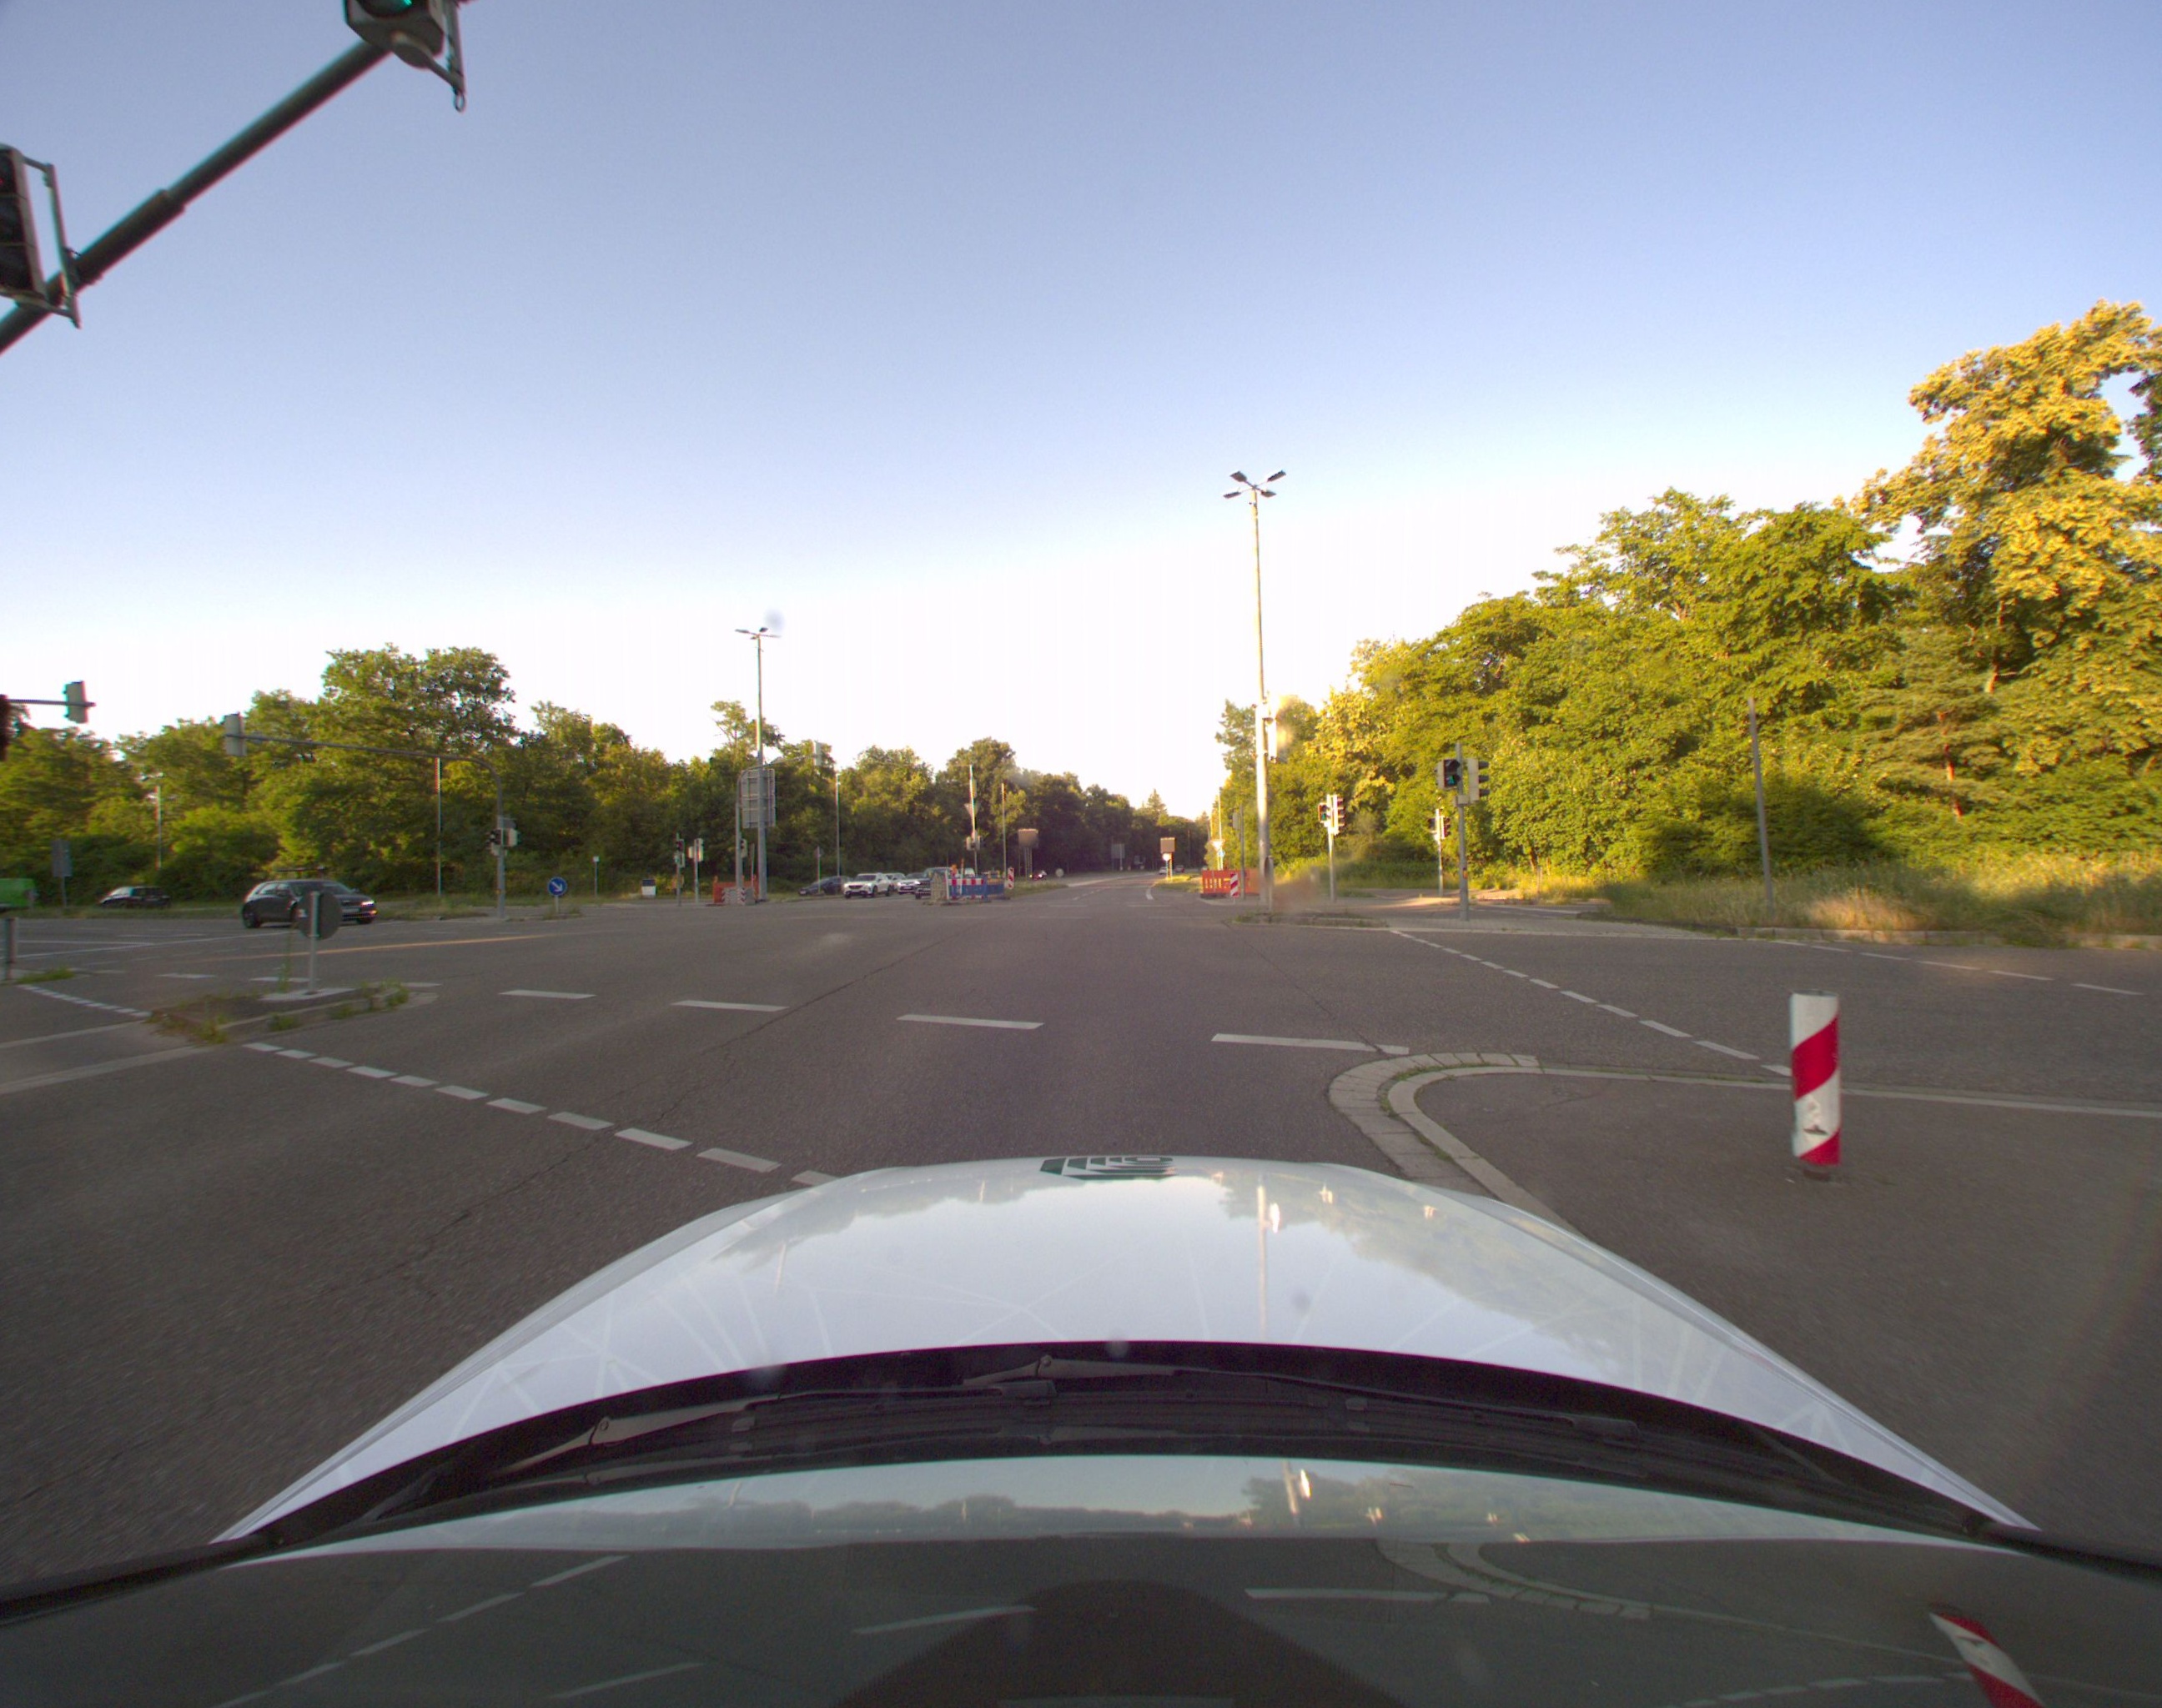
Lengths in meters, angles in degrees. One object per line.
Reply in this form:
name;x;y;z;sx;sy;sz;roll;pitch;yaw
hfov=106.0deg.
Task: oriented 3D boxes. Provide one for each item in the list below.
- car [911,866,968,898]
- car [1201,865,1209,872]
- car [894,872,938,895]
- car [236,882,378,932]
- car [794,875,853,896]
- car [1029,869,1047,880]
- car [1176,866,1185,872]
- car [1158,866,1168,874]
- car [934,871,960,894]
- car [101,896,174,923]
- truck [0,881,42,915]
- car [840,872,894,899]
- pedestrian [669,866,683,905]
car;-7.273;1.420;42.163;1.707;1.456;4.241;-2;-1;7
car;32.144;3.750;210.959;1.565;1.534;3.694;-1;-1;17
car;-11.557;2.027;57.311;1.707;1.456;4.241;-2;-1;7
car;-26.003;1.756;27.370;3.952;1.520;2.014;-2;-1;23
car;-17.236;2.085;54.568;1.587;1.244;3.670;-2;-1;29
car;-6.201;2.951;117.671;1.868;1.422;4.240;-2;-1;6
car;22.520;3.453;184.905;1.444;1.244;2.976;-2;-1;16
car;15.976;3.085;158.417;1.537;1.347;3.123;-2;-1;10
car;-13.086;2.750;79.592;1.873;2.024;4.230;-2;-1;-2
car;-53.991;3.164;46.591;3.997;1.327;1.674;0;0;25
truck;-69.296;2.838;52.419;3.951;2.121;2.011;-2;-1;23
car;-12.893;1.858;49.336;1.707;1.456;4.241;-2;-1;7
pedestrian;-19.409;1.510;39.024;0.577;1.800;0.743;-1;-1;-29
